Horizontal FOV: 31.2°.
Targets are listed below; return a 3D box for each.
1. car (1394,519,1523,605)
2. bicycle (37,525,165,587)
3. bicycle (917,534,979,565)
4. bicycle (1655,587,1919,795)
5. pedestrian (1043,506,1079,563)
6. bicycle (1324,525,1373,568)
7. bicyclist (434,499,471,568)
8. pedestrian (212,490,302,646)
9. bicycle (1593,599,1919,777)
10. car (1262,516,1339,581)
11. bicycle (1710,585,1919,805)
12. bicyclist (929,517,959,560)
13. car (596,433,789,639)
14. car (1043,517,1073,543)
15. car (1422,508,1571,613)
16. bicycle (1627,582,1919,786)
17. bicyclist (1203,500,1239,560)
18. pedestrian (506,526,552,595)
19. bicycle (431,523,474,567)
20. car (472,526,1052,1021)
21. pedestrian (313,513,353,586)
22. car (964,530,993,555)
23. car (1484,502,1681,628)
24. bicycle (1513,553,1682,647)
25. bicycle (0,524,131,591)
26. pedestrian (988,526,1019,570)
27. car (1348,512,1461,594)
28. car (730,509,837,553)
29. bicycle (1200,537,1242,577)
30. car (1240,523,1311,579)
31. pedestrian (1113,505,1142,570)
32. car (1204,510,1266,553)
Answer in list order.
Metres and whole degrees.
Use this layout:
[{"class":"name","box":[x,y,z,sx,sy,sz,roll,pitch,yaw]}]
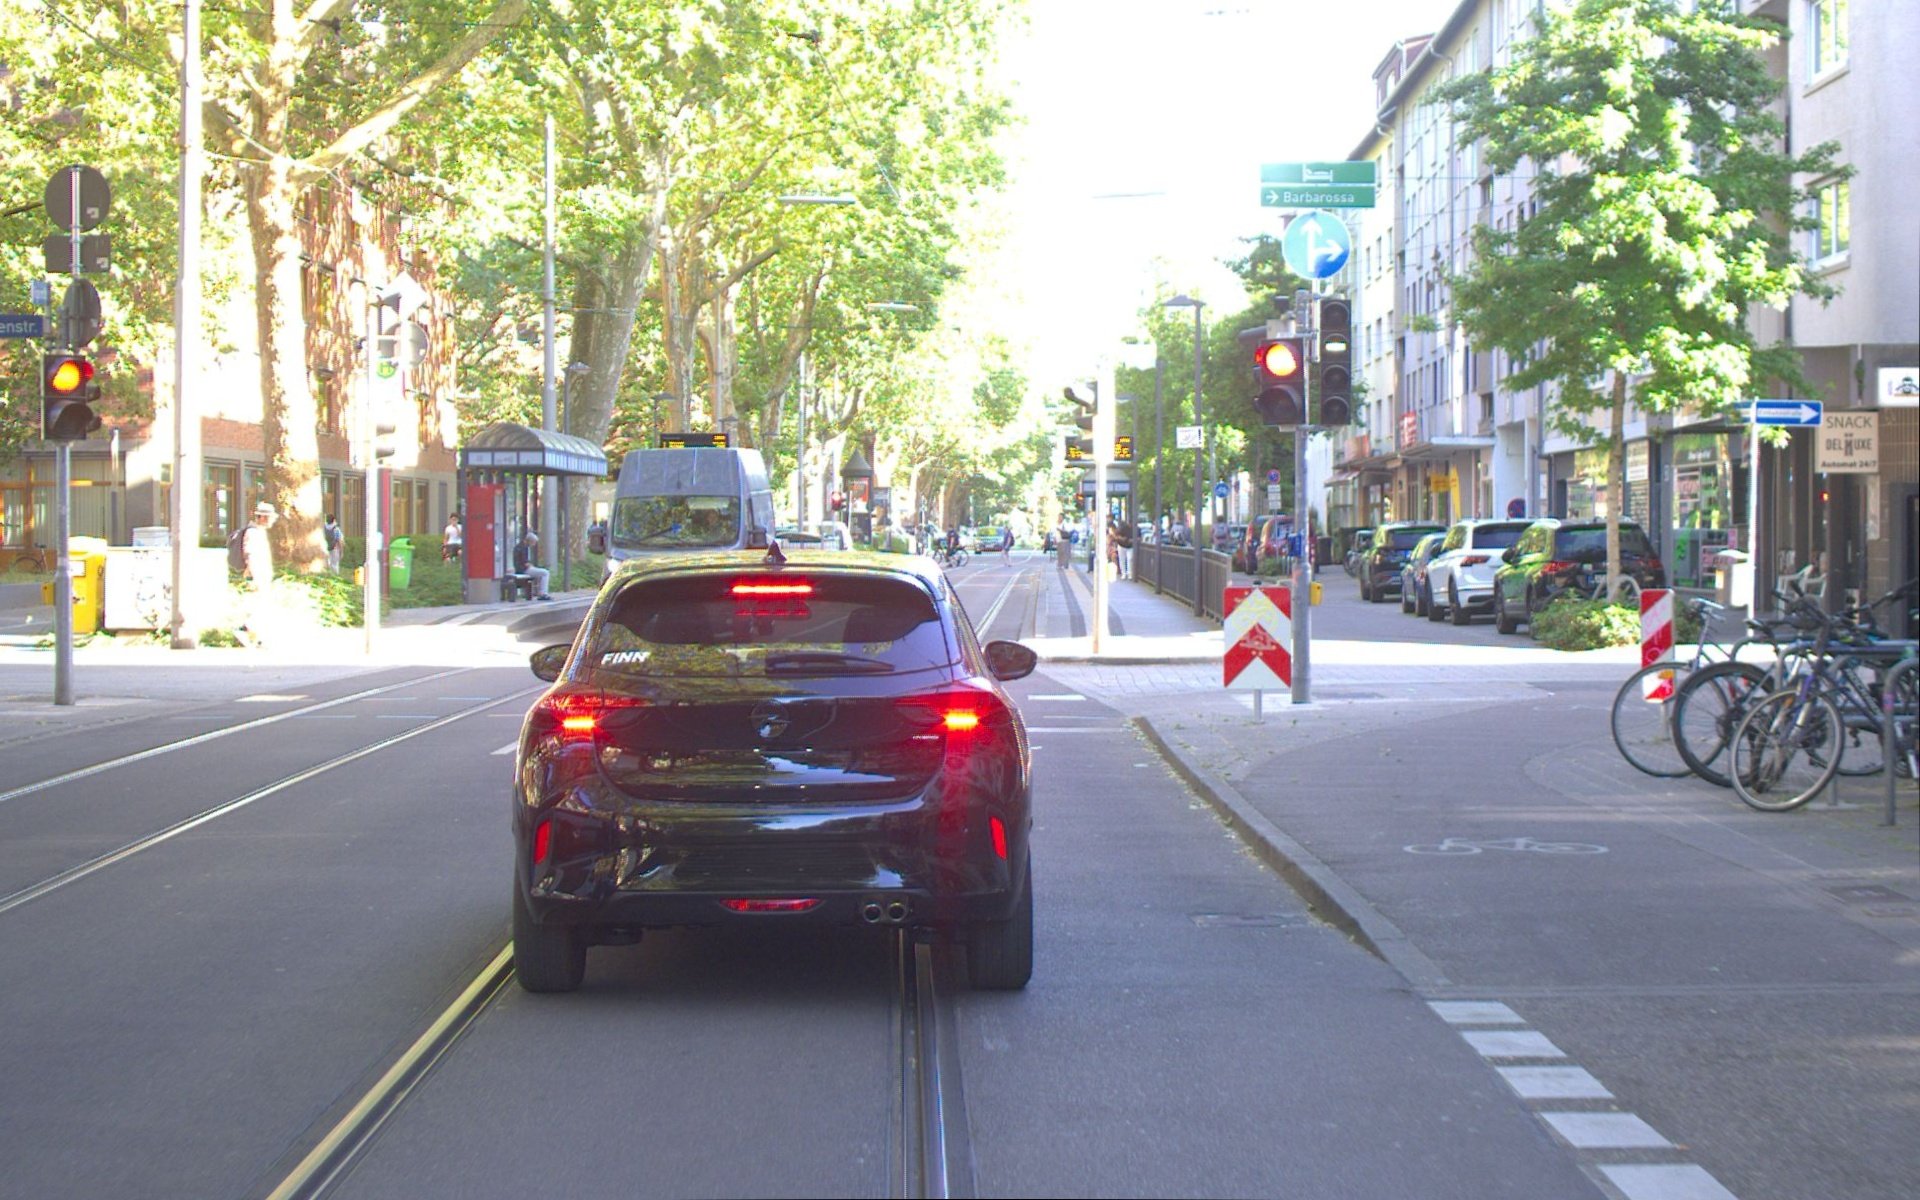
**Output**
[{"class":"car","box":[8.760,-0.677,60.707,1.744,1.435,4.247,1,1,2]},{"class":"bicycle","box":[-17.066,-0.879,68.317,2.340,1.162,0.682,1,1,2]},{"class":"bicycle","box":[-0.501,-2.065,141.171,2.480,1.236,0.958,1,1,-4]},{"class":"bicycle","box":[4.726,0.489,18.600,1.815,1.096,0.481,1,1,-7]},{"class":"pedestrian","box":[3.056,-1.981,104.081,0.751,1.703,0.762,1,1,36]},{"class":"bicycle","box":[10.324,-1.422,91.368,0.621,1.132,2.440,1,1,-10]},{"class":"bicyclist","box":[-13.022,-1.705,88.222,0.774,1.744,0.997,1,1,-1]},{"class":"pedestrian","box":[-8.513,-0.396,41.662,0.924,1.829,0.920,1,3,-2]},{"class":"bicycle","box":[4.643,0.508,20.011,1.815,0.991,0.481,1,1,-1]},{"class":"car","box":[10.443,-1.581,105.617,1.993,1.946,4.000,1,1,1]},{"class":"bicycle","box":[4.792,0.475,17.550,1.815,1.096,0.525,0,1,1]},{"class":"bicyclist","box":[-0.663,-2.518,141.154,1.163,1.742,0.958,1,1,-4]},{"class":"car","box":[-3.747,-0.904,49.296,2.113,2.728,6.115,-1,1,1]},{"class":"car","box":[6.144,-4.401,216.543,1.745,1.539,4.000,1,1,0]},{"class":"car","box":[8.546,-0.641,55.060,1.799,1.600,4.415,1,1,2]},{"class":"bicycle","box":[4.675,0.463,19.114,1.815,1.096,0.498,1,1,-7]},{"class":"bicyclist","box":[7.681,-2.060,101.156,0.861,1.753,1.054,1,1,-5]},{"class":"pedestrian","box":[-7.459,-0.684,59.470,0.705,1.164,0.659,-1,1,-2]},{"class":"bicycle","box":[-13.034,-1.406,88.327,0.782,1.107,2.596,1,1,-1]},{"class":"car","box":[-0.625,0.504,12.369,1.759,1.503,3.683,0,1,-1]},{"class":"pedestrian","box":[-14.476,-1.158,79.345,0.735,1.666,0.861,1,1,2]},{"class":"car","box":[1.142,-3.619,215.528,1.745,1.539,4.000,1,1,0]},{"class":"car","box":[8.577,-0.494,47.704,1.993,1.610,4.445,-2,1,2]},{"class":"bicycle","box":[8.266,-0.010,44.639,2.127,1.183,0.681,1,1,10]},{"class":"bicycle","box":[-17.578,-0.839,67.392,2.458,1.215,0.682,2,1,2]},{"class":"pedestrian","box":[1.738,-2.099,138.579,1.163,1.742,0.958,1,1,-4]},{"class":"car","box":[9.154,-0.977,71.063,1.857,1.610,4.398,1,1,2]},{"class":"car","box":[-6.983,-2.727,135.907,4.113,1.695,1.884,1,1,-5]},{"class":"bicycle","box":[7.666,-1.265,101.117,0.861,1.132,2.396,1,1,-5]},{"class":"car","box":[10.275,-1.599,112.146,1.993,1.791,4.000,1,1,1]},{"class":"pedestrian","box":[4.144,-1.552,85.196,0.631,1.571,0.870,2,1,2]},{"class":"car","box":[9.931,-2.465,124.467,1.993,1.481,4.000,1,1,2]}]
